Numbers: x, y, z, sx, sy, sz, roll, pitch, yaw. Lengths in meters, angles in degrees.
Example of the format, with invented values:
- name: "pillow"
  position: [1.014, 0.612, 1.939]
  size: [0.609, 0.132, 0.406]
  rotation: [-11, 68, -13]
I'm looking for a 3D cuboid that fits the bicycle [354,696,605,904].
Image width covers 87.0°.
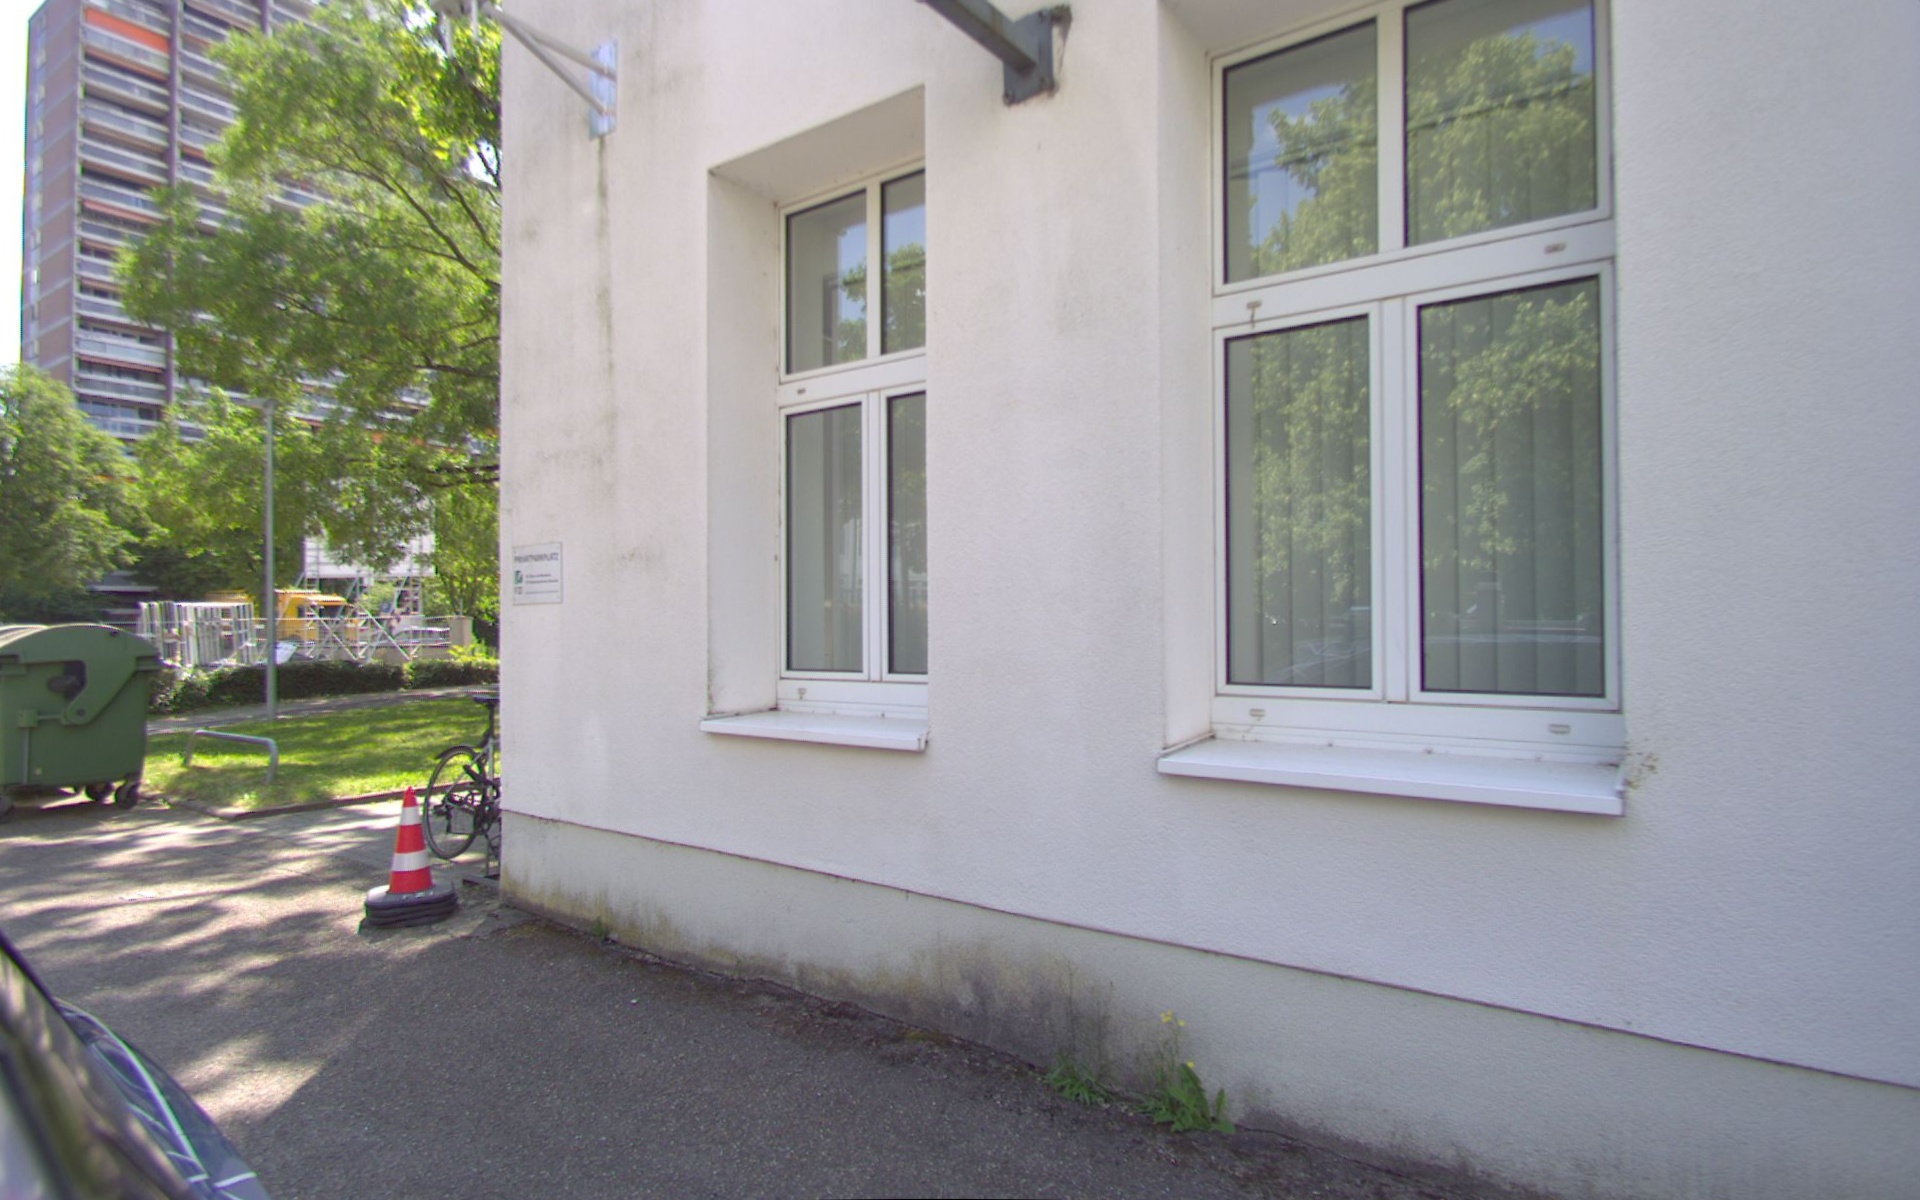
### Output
- name: "bicycle"
  position: [-2.832, 1.084, 5.891]
  size: [1.727, 0.965, 0.606]
  rotation: [-2, -3, 37]

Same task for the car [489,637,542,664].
- name: "car"
  position: [-24.127, 2.703, 54.881]
  size: [1.604, 1.383, 4.030]
  rotation: [1, -2, -39]

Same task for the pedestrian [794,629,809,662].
- name: "pedestrian"
  position: [-9.056, 2.582, 57.680]
  size: [0.573, 1.889, 0.710]
  rotation: [-1, -2, 21]

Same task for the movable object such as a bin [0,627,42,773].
- name: "movable object such as a bin"
  position: [-10.539, 1.034, 10.485]
  size: [1.321, 1.491, 1.194]
  rotation: [-2, -3, 32]

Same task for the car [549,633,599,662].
- name: "car"
  position: [-21.372, 2.595, 55.963]
  size: [1.789, 1.474, 4.034]
  rotation: [0, -2, -33]

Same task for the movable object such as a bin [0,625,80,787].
- name: "movable object such as a bin"
  position: [-9.391, 0.987, 9.610]
  size: [1.352, 1.491, 1.087]
  rotation: [-1, -2, 25]

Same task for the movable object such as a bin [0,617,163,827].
- name: "movable object such as a bin"
  position: [-7.154, 0.897, 7.953]
  size: [1.407, 1.491, 1.035]
  rotation: [-2, -3, 36]

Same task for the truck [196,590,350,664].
- name: "truck"
  position: [-39.813, 1.584, 58.542]
  size: [9.685, 4.036, 2.728]
  rotation: [-1, -2, 24]

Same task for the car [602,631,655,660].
- name: "car"
  position: [-18.233, 2.500, 55.617]
  size: [1.624, 1.528, 3.582]
  rotation: [1, -2, -39]

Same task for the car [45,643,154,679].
- name: "car"
  position: [-35.841, 2.516, 42.188]
  size: [3.546, 1.451, 1.617]
  rotation: [-1, -2, 12]

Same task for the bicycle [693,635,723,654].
- name: "bicycle"
  position: [-15.865, 2.784, 63.690]
  size: [0.567, 1.139, 1.905]
  rotation: [-2, -2, 35]

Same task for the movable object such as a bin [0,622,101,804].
- name: "movable object such as a bin"
  position: [-8.313, 0.942, 8.774]
  size: [1.259, 1.491, 1.035]
  rotation: [-2, -3, 36]

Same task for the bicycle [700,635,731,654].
- name: "bicycle"
  position: [-15.267, 2.758, 63.203]
  size: [0.568, 1.139, 1.903]
  rotation: [-2, -3, 38]

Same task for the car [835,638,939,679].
- name: "car"
  position: [-2.660, 2.166, 37.419]
  size: [3.678, 1.468, 1.586]
  rotation: [0, -4, 4]
